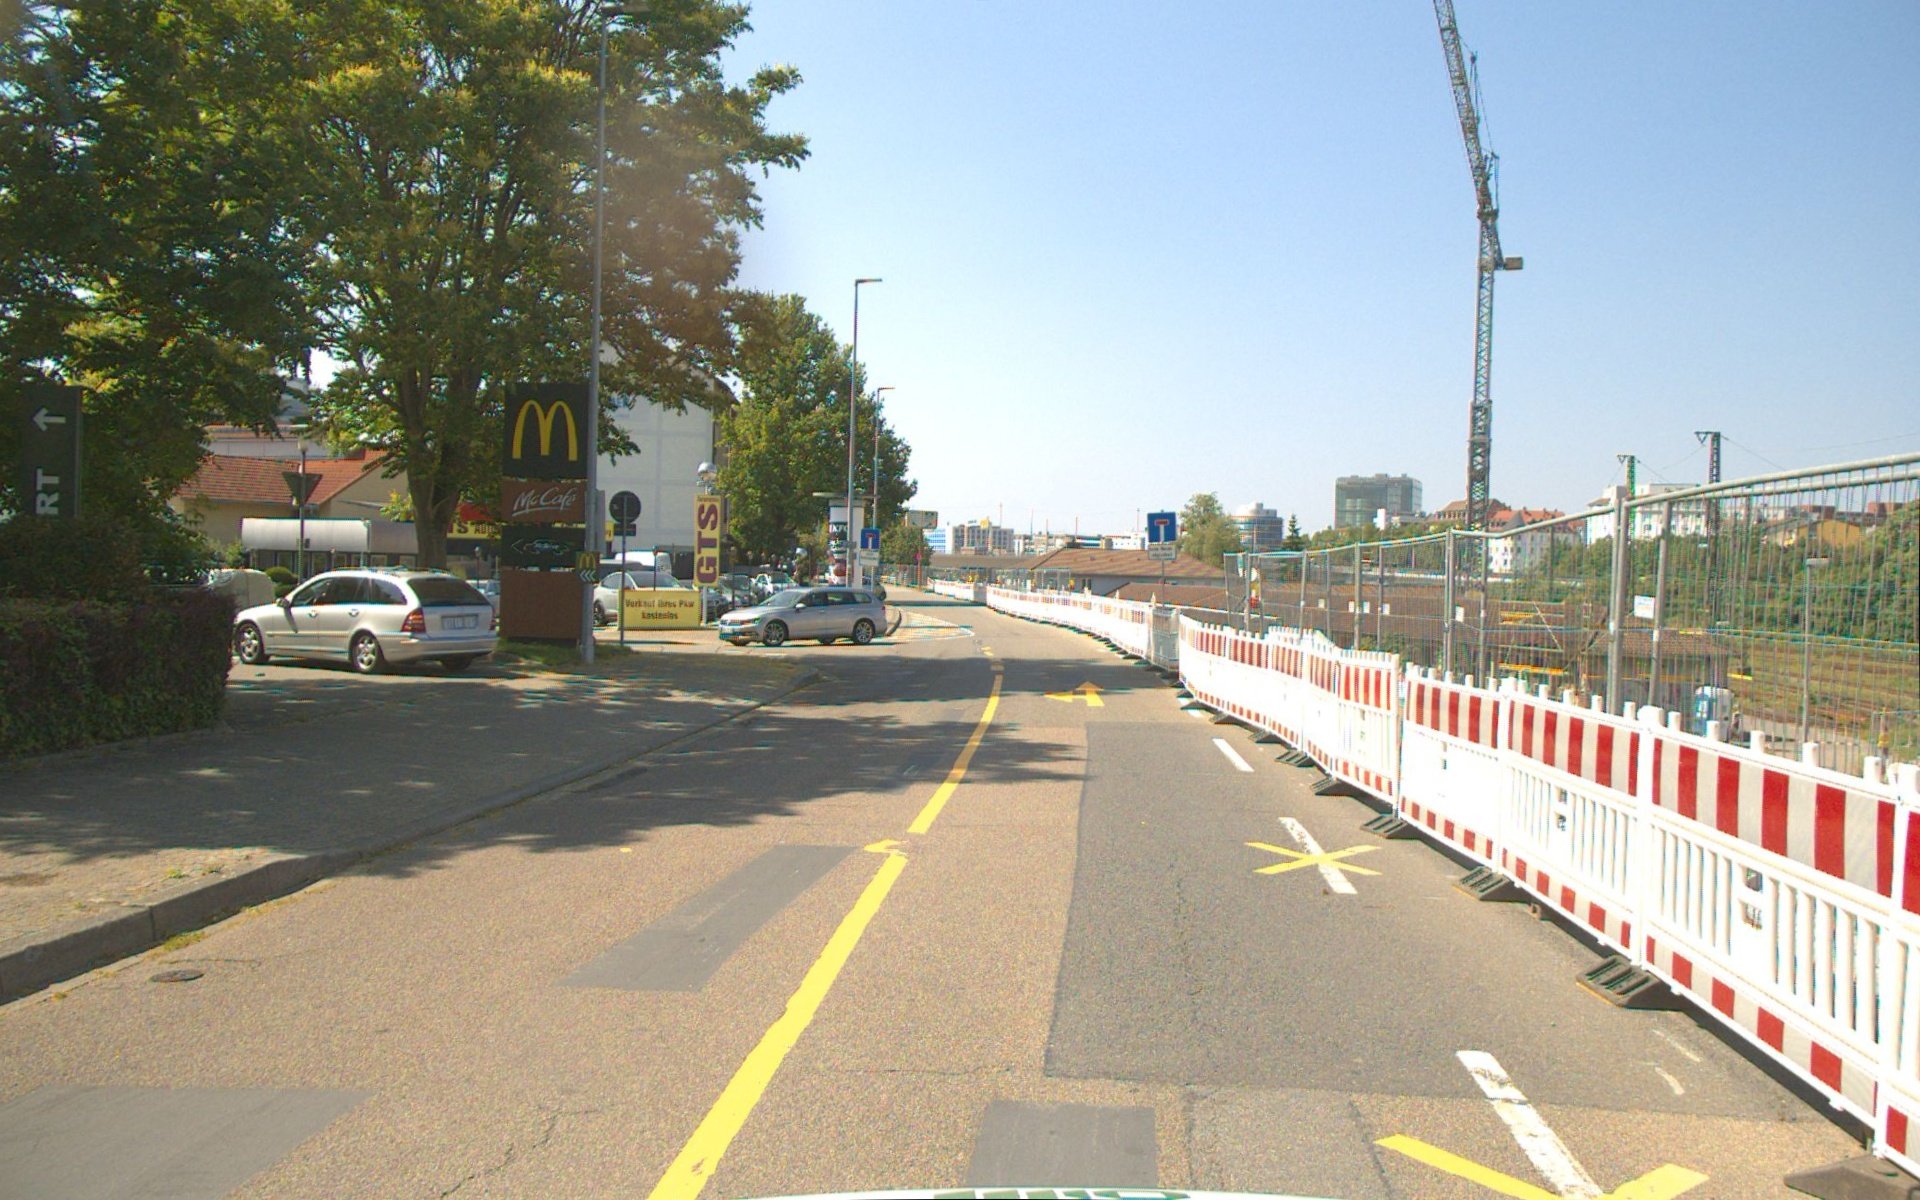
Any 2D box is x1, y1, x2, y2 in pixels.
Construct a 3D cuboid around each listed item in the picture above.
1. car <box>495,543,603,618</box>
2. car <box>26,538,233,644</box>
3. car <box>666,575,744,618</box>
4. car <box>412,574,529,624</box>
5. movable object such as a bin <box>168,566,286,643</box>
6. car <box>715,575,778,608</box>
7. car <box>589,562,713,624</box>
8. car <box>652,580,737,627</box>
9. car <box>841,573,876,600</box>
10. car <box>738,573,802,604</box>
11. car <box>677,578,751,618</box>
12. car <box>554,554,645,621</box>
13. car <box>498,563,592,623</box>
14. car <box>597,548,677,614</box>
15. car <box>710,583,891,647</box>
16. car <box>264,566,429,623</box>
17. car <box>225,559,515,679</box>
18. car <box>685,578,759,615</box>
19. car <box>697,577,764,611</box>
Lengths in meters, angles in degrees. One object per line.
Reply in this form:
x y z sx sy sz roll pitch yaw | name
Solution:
-16.095 -0.721 65.170 2.228 2.806 6.156 0 0 5 | car
-16.884 -0.170 33.560 4.434 1.953 1.886 -2 1 36 | car
-9.581 -0.167 61.933 1.813 1.498 3.968 -2 1 -25 | car
-16.661 -0.061 56.546 1.868 1.602 4.691 1 1 10 | car
-15.539 0.087 35.093 1.734 1.552 1.455 -1 3 23 | movable object such as a bin
-10.444 -0.428 80.737 1.650 1.498 3.959 -2 1 -30 | car
-9.660 -0.185 51.418 1.960 1.736 4.603 -1 -1 -37 | car
-9.122 0.106 56.596 1.813 1.498 3.967 -2 1 -26 | car
-6.114 -0.853 100.073 1.831 1.524 4.032 0 2 0 | car
-9.707 -0.585 84.310 1.758 1.498 3.959 -2 1 -30 | car
-10.069 -0.093 67.450 1.760 1.498 3.963 -2 1 -28 | car
-13.456 -0.420 62.015 2.199 2.391 4.824 0 0 2 | car
-12.618 -0.186 50.101 2.016 1.737 4.281 0 -1 -25 | car
-13.402 -0.764 68.945 2.201 2.472 5.717 4 0 -2 | car
-4.025 0.352 42.228 4.569 1.519 1.656 0 1 -44 | car
-20.729 -0.195 55.997 4.847 1.874 2.131 0 1 -41 | car
-8.533 0.216 23.796 4.296 1.428 1.709 3 2 34 | car
-10.306 -0.182 71.462 1.652 1.498 3.955 -2 2 -33 | car
-10.573 -0.291 76.077 1.650 1.498 3.959 -2 1 -30 | car
